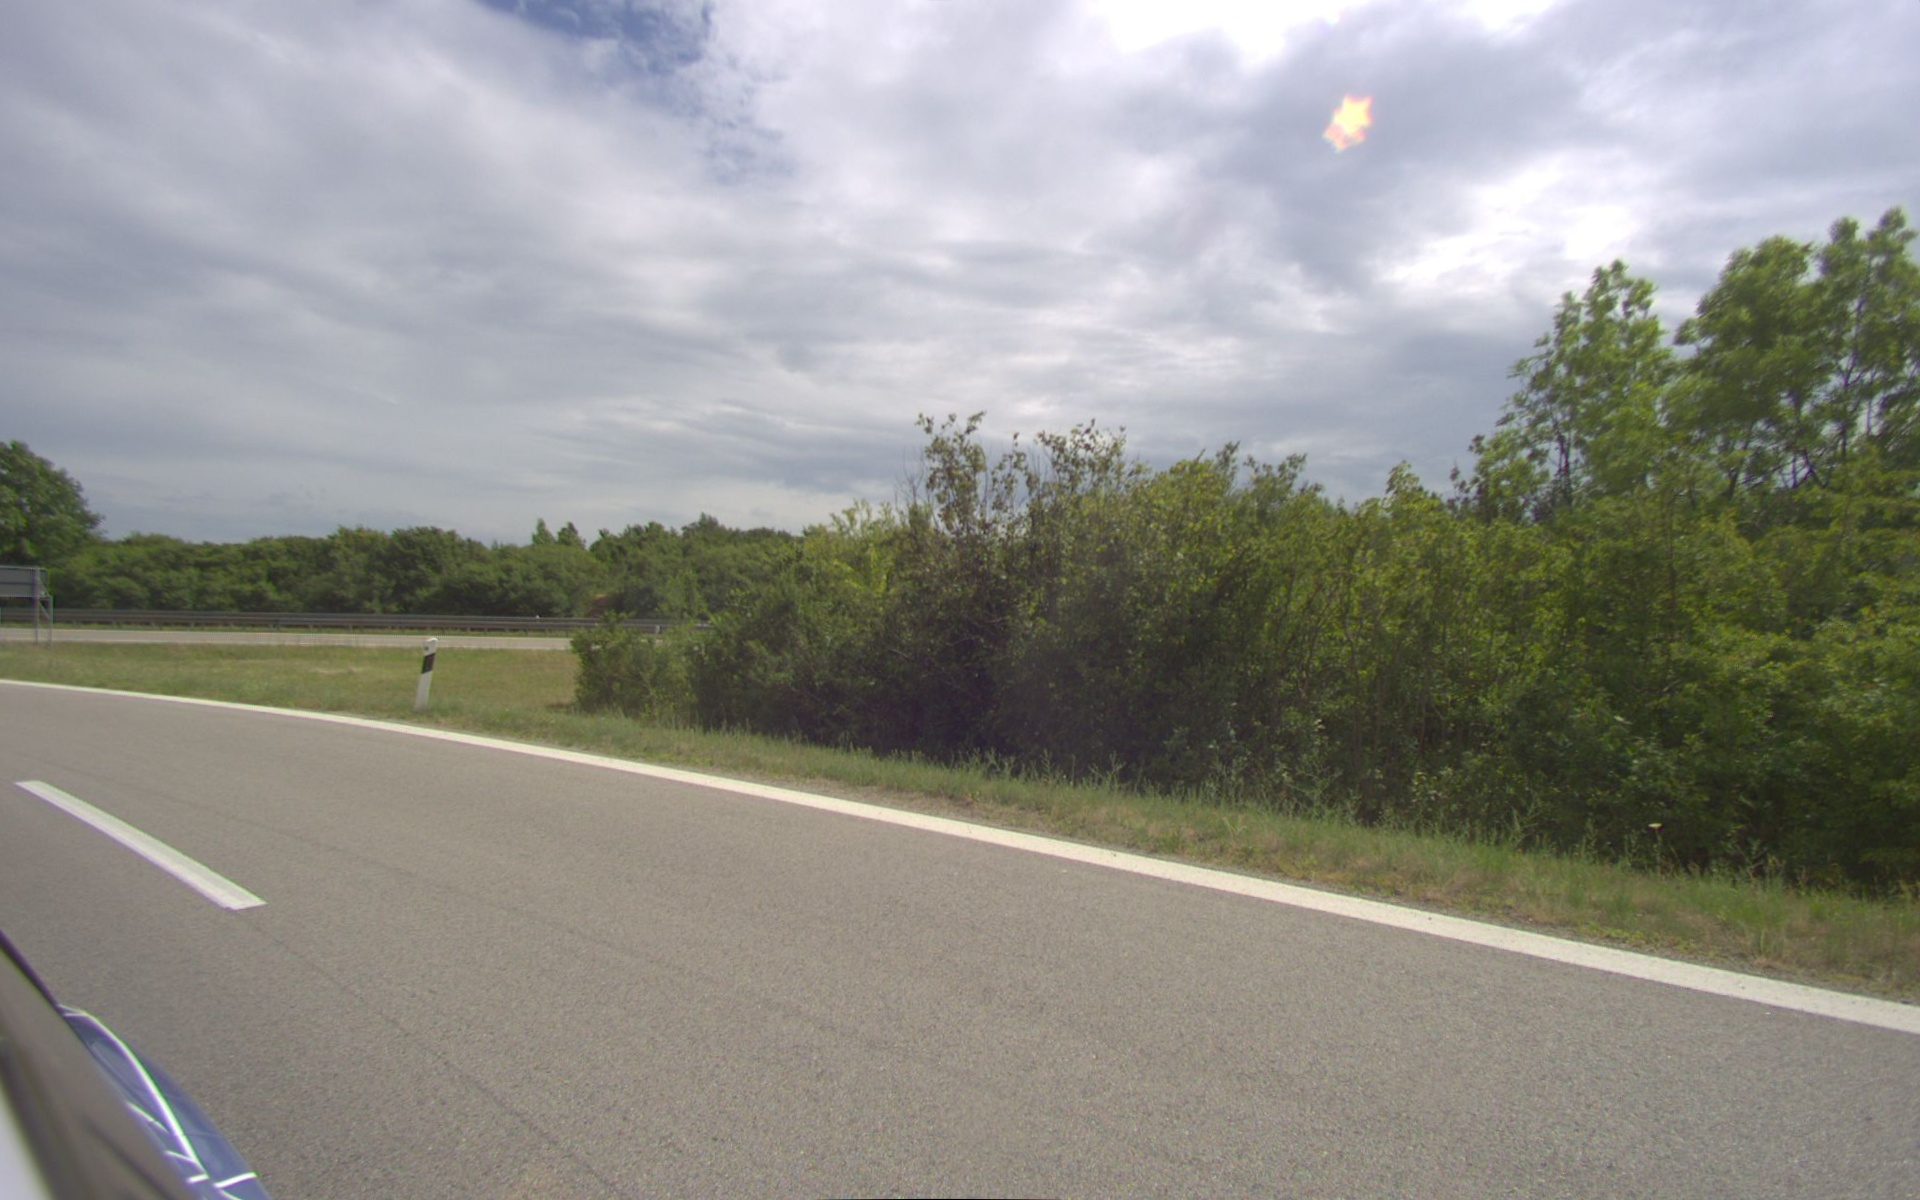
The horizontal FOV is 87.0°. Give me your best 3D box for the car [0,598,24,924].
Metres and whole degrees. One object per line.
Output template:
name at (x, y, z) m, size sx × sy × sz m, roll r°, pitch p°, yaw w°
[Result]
car at (-6.838, 0.771, 5.387) m, size 4.531 × 1.526 × 1.975 m, roll 0°, pitch 0°, yaw 37°
